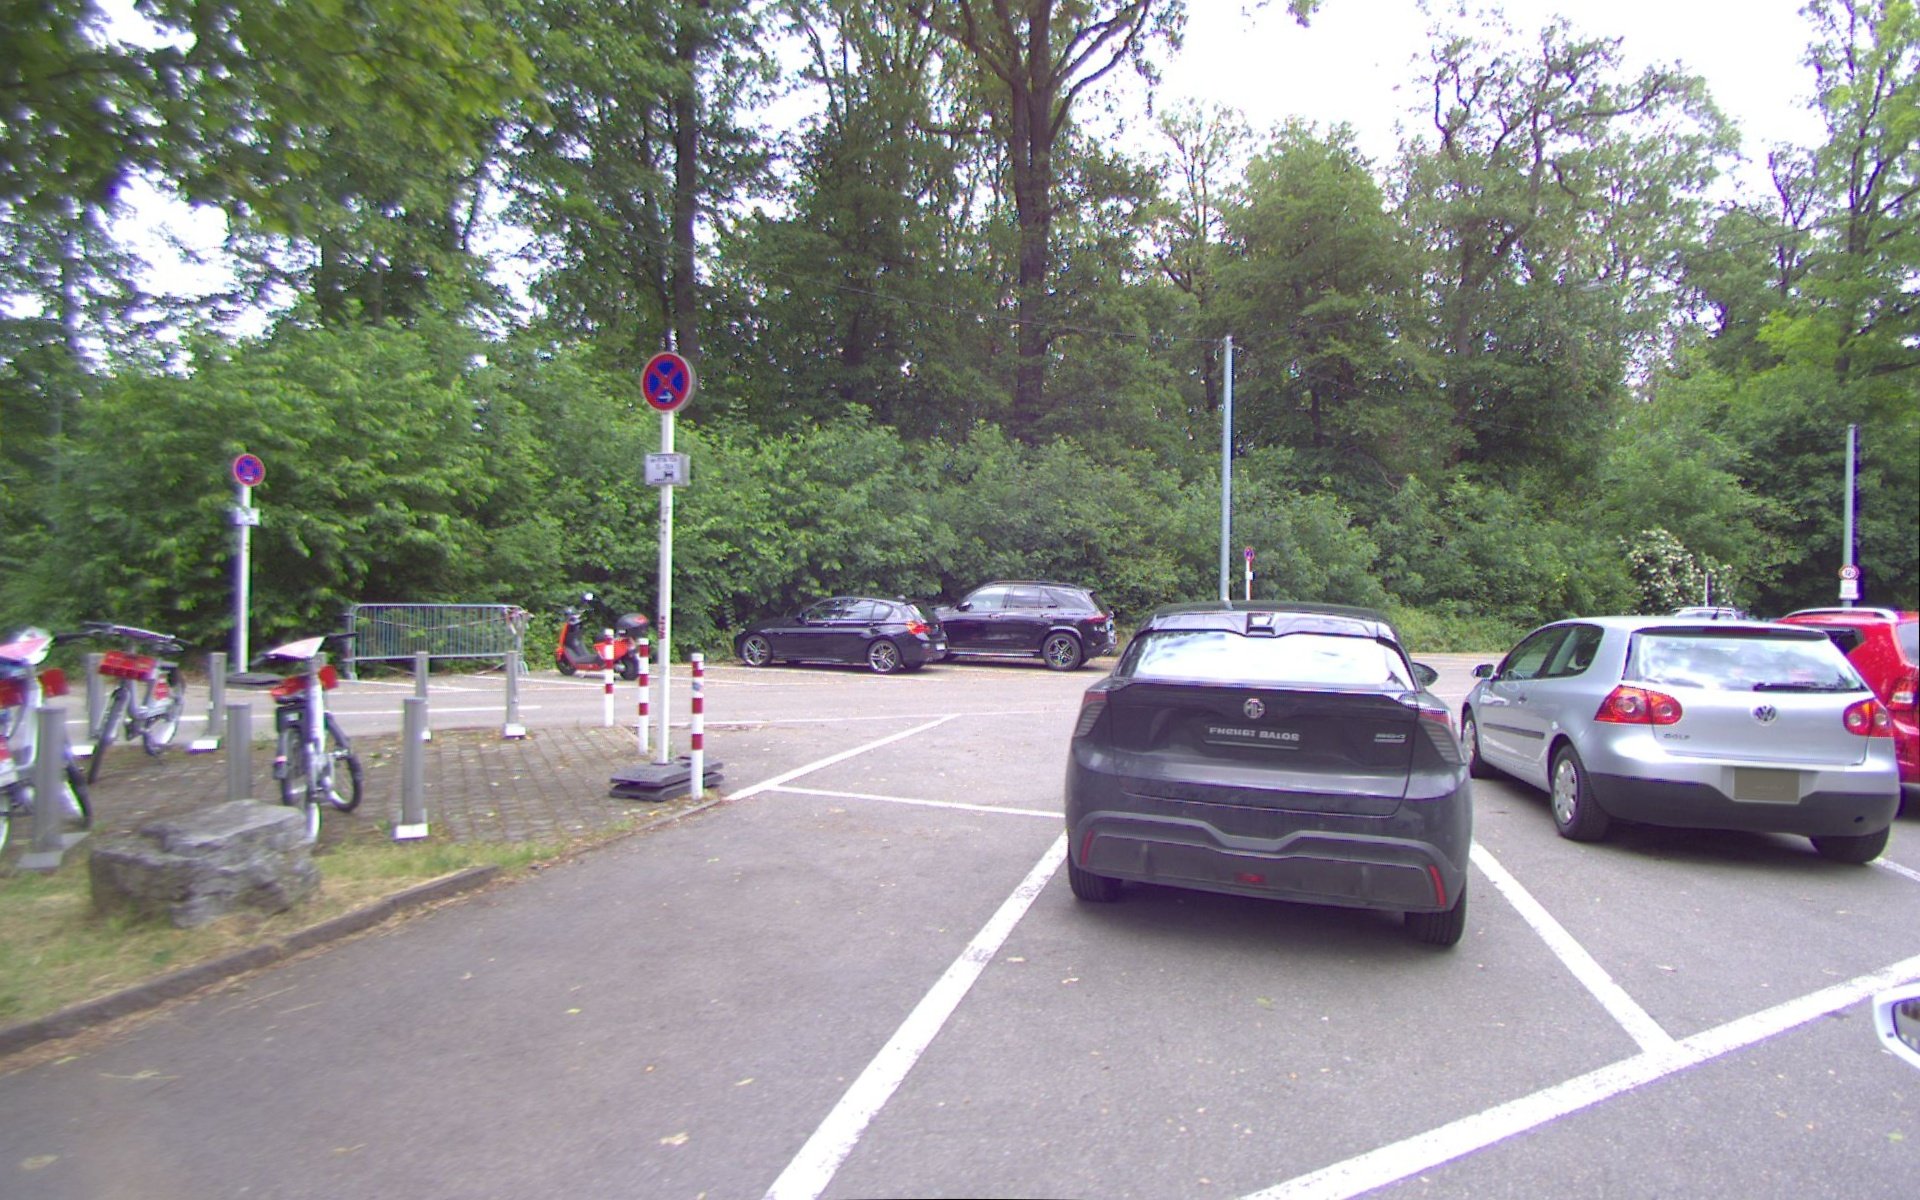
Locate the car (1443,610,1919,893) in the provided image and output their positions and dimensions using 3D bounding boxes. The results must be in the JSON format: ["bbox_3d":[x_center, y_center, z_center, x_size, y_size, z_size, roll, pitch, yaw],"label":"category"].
[{"bbox_3d":[5.128,0.856,7.620,1.839,1.503,4.002,1,0,14],"label":"car"}]

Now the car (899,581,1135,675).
[{"bbox_3d":[1.240,0.538,21.341,4.615,1.790,2.112,1,0,18],"label":"car"}]

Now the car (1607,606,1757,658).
[{"bbox_3d":[26.095,1.121,36.455,3.990,1.707,1.880,1,0,18],"label":"car"}]

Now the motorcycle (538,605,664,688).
[{"bbox_3d":[-5.751,0.720,16.077,1.992,1.224,0.730,1,0,28],"label":"motorcycle"}]

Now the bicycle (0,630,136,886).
[{"bbox_3d":[-4.971,0.755,5.342,0.476,1.126,1.675,1,0,-24],"label":"bicycle"}]

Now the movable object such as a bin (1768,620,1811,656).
[{"bbox_3d":[32.096,1.444,38.882,1.107,1.332,1.181,1,0,32],"label":"movable object such as a bin"}]

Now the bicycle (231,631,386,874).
[{"bbox_3d":[-3.721,0.779,5.842,0.476,1.126,1.778,1,0,-24],"label":"bicycle"}]

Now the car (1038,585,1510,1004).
[{"bbox_3d":[1.872,0.742,6.001,1.794,1.543,4.100,1,0,19],"label":"car"}]

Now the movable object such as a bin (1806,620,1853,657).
[{"bbox_3d":[33.062,1.449,38.204,1.152,1.325,1.310,1,0,32],"label":"movable object such as a bin"}]

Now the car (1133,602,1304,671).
[{"bbox_3d":[6.375,0.850,24.778,3.920,1.531,1.870,1,0,18],"label":"car"}]

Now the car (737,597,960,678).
[{"bbox_3d":[-2.146,0.679,19.551,3.920,1.394,1.740,1,0,18],"label":"car"}]

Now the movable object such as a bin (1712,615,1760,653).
[{"bbox_3d":[30.851,1.346,39.943,1.115,1.444,1.120,1,0,-25],"label":"movable object such as a bin"}]

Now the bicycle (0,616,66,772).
[{"bbox_3d":[-7.339,0.702,7.424,0.475,1.126,1.689,1,0,-20],"label":"bicycle"}]

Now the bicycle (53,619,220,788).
[{"bbox_3d":[-6.311,0.732,7.789,0.498,1.126,1.676,1,0,-22],"label":"bicycle"}]

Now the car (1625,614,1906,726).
[{"bbox_3d":[12.544,0.992,16.044,1.832,1.461,4.318,1,0,14],"label":"car"}]

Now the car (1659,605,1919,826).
[{"bbox_3d":[7.987,0.863,8.966,1.653,1.606,3.656,1,0,14],"label":"car"}]
